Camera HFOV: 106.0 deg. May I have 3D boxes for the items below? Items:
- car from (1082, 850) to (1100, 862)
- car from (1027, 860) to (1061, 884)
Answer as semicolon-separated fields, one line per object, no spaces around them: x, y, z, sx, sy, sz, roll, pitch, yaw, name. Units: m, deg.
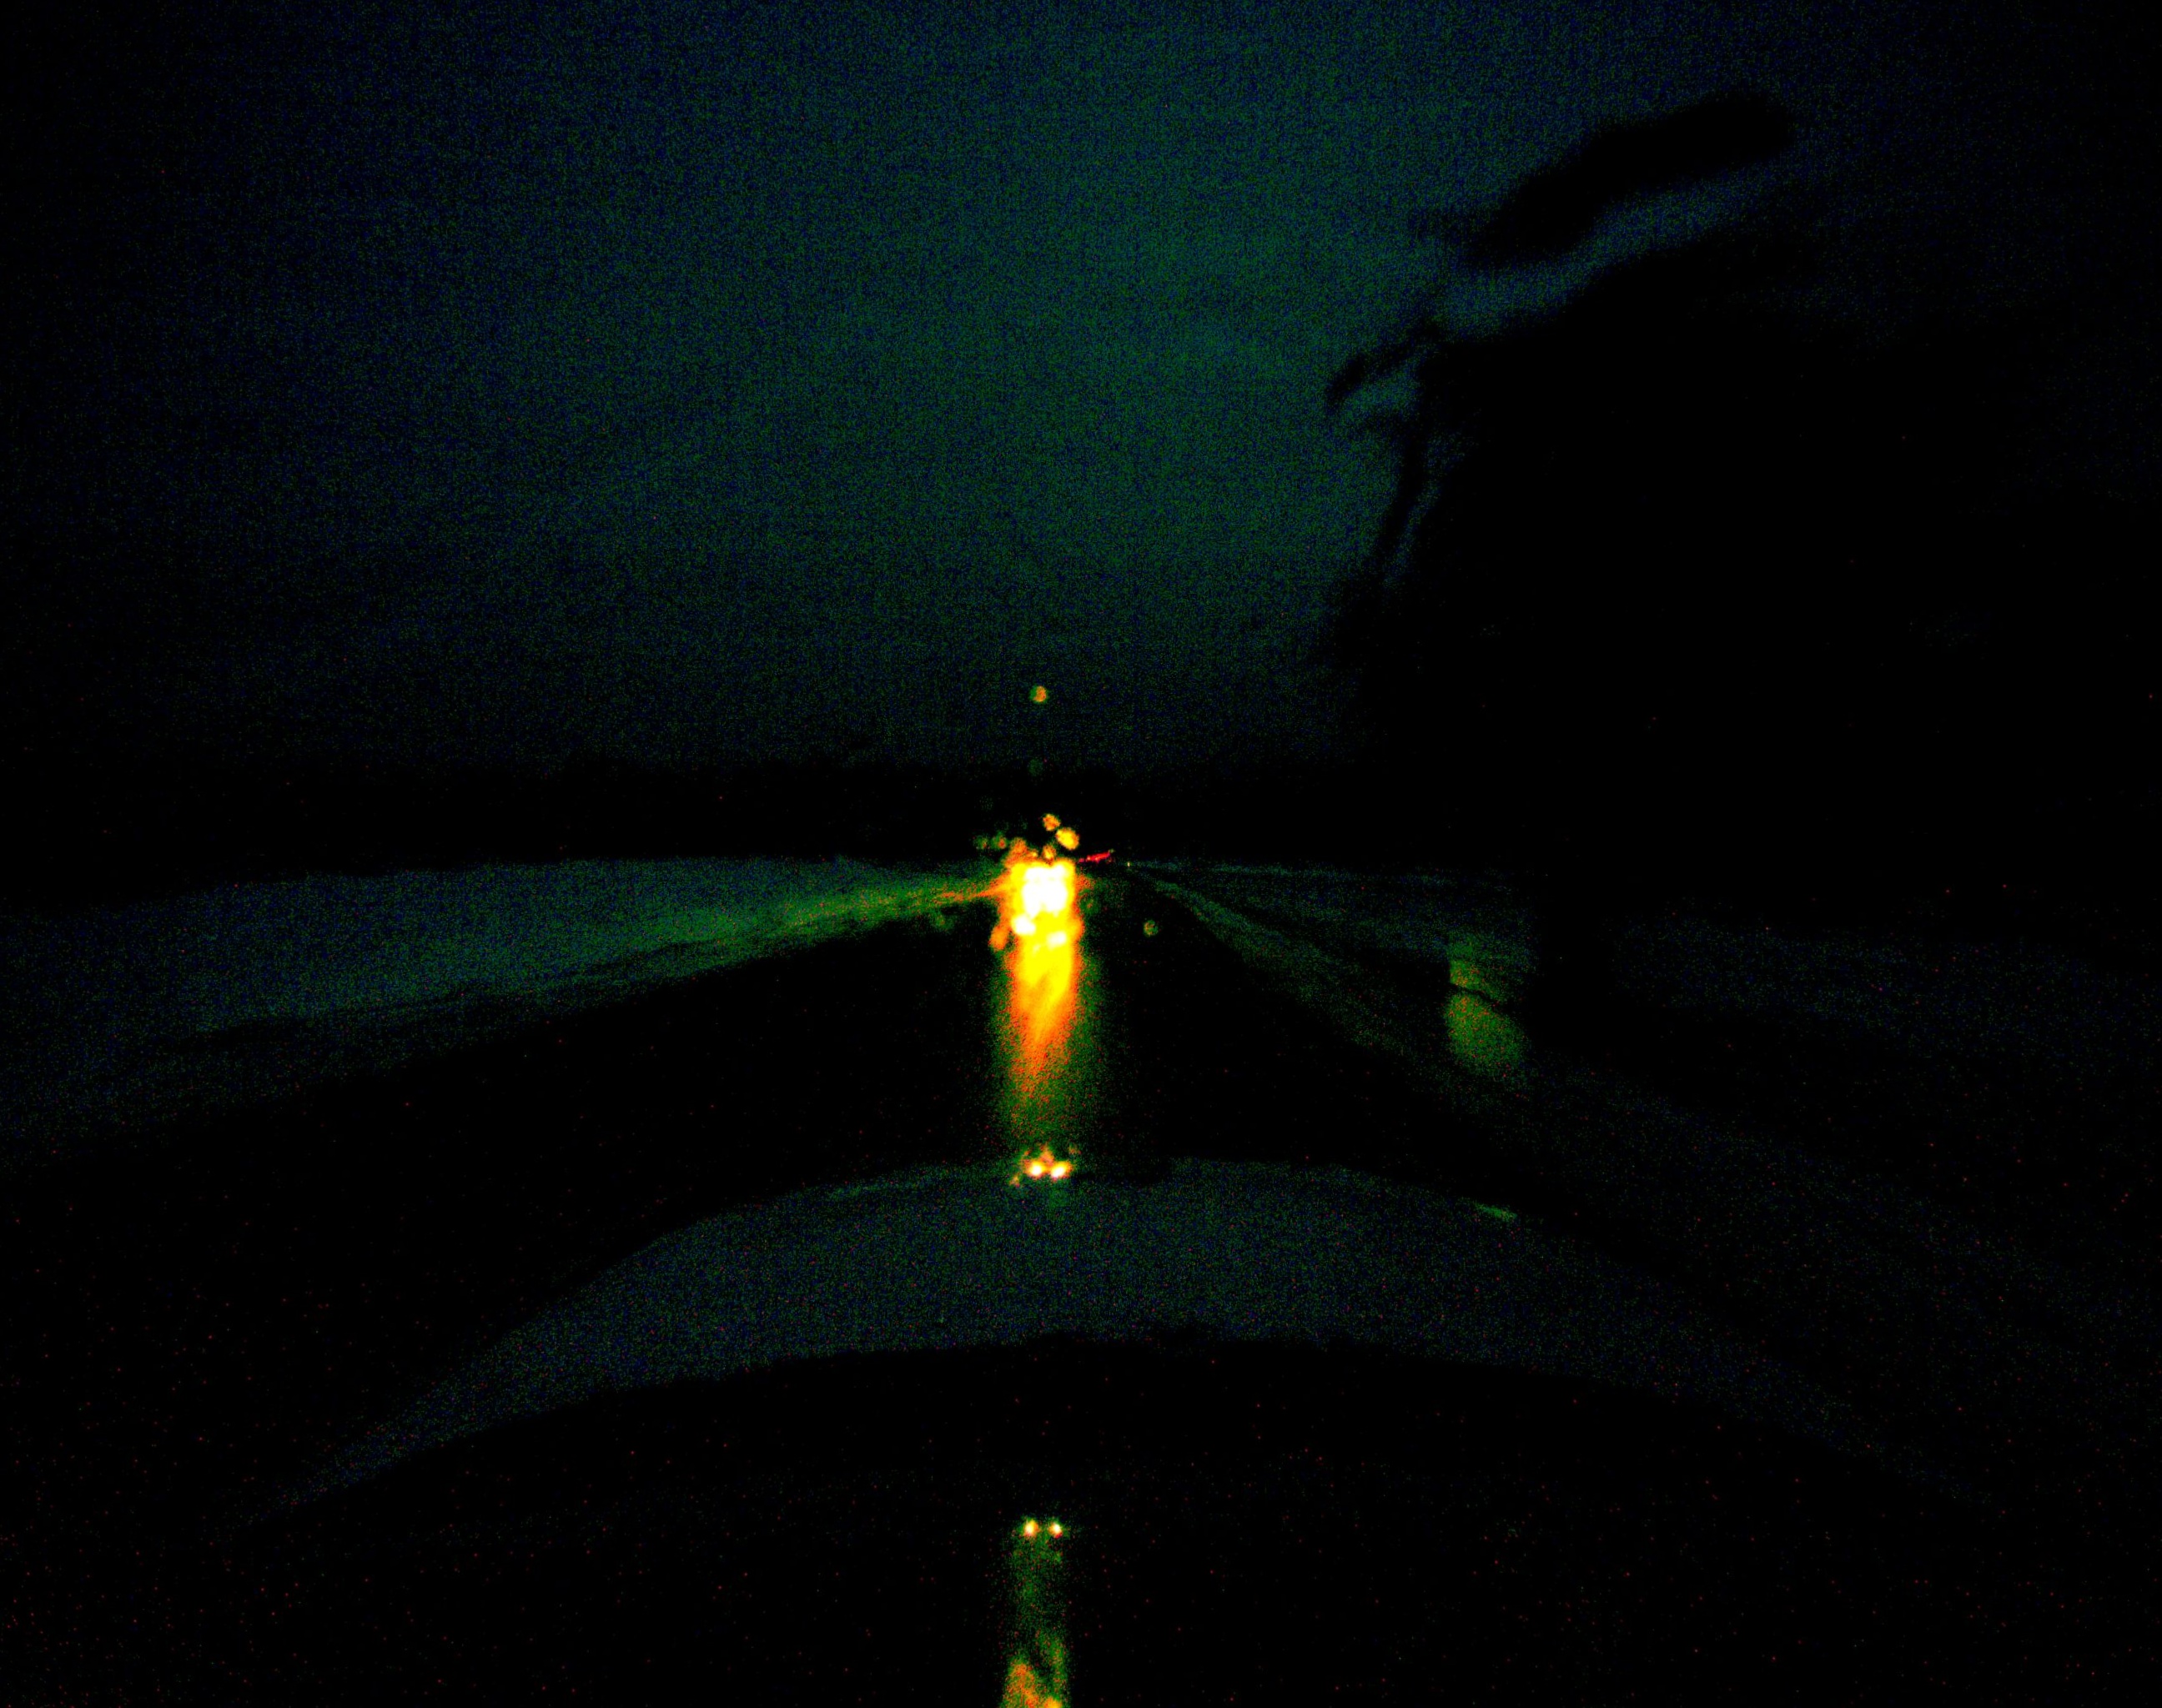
1.779;0.417;144.787;1.978;2.052;4.018;1;-1;17;car
-2.280;1.086;51.058;1.721;1.346;4.223;-3;0;1;car
